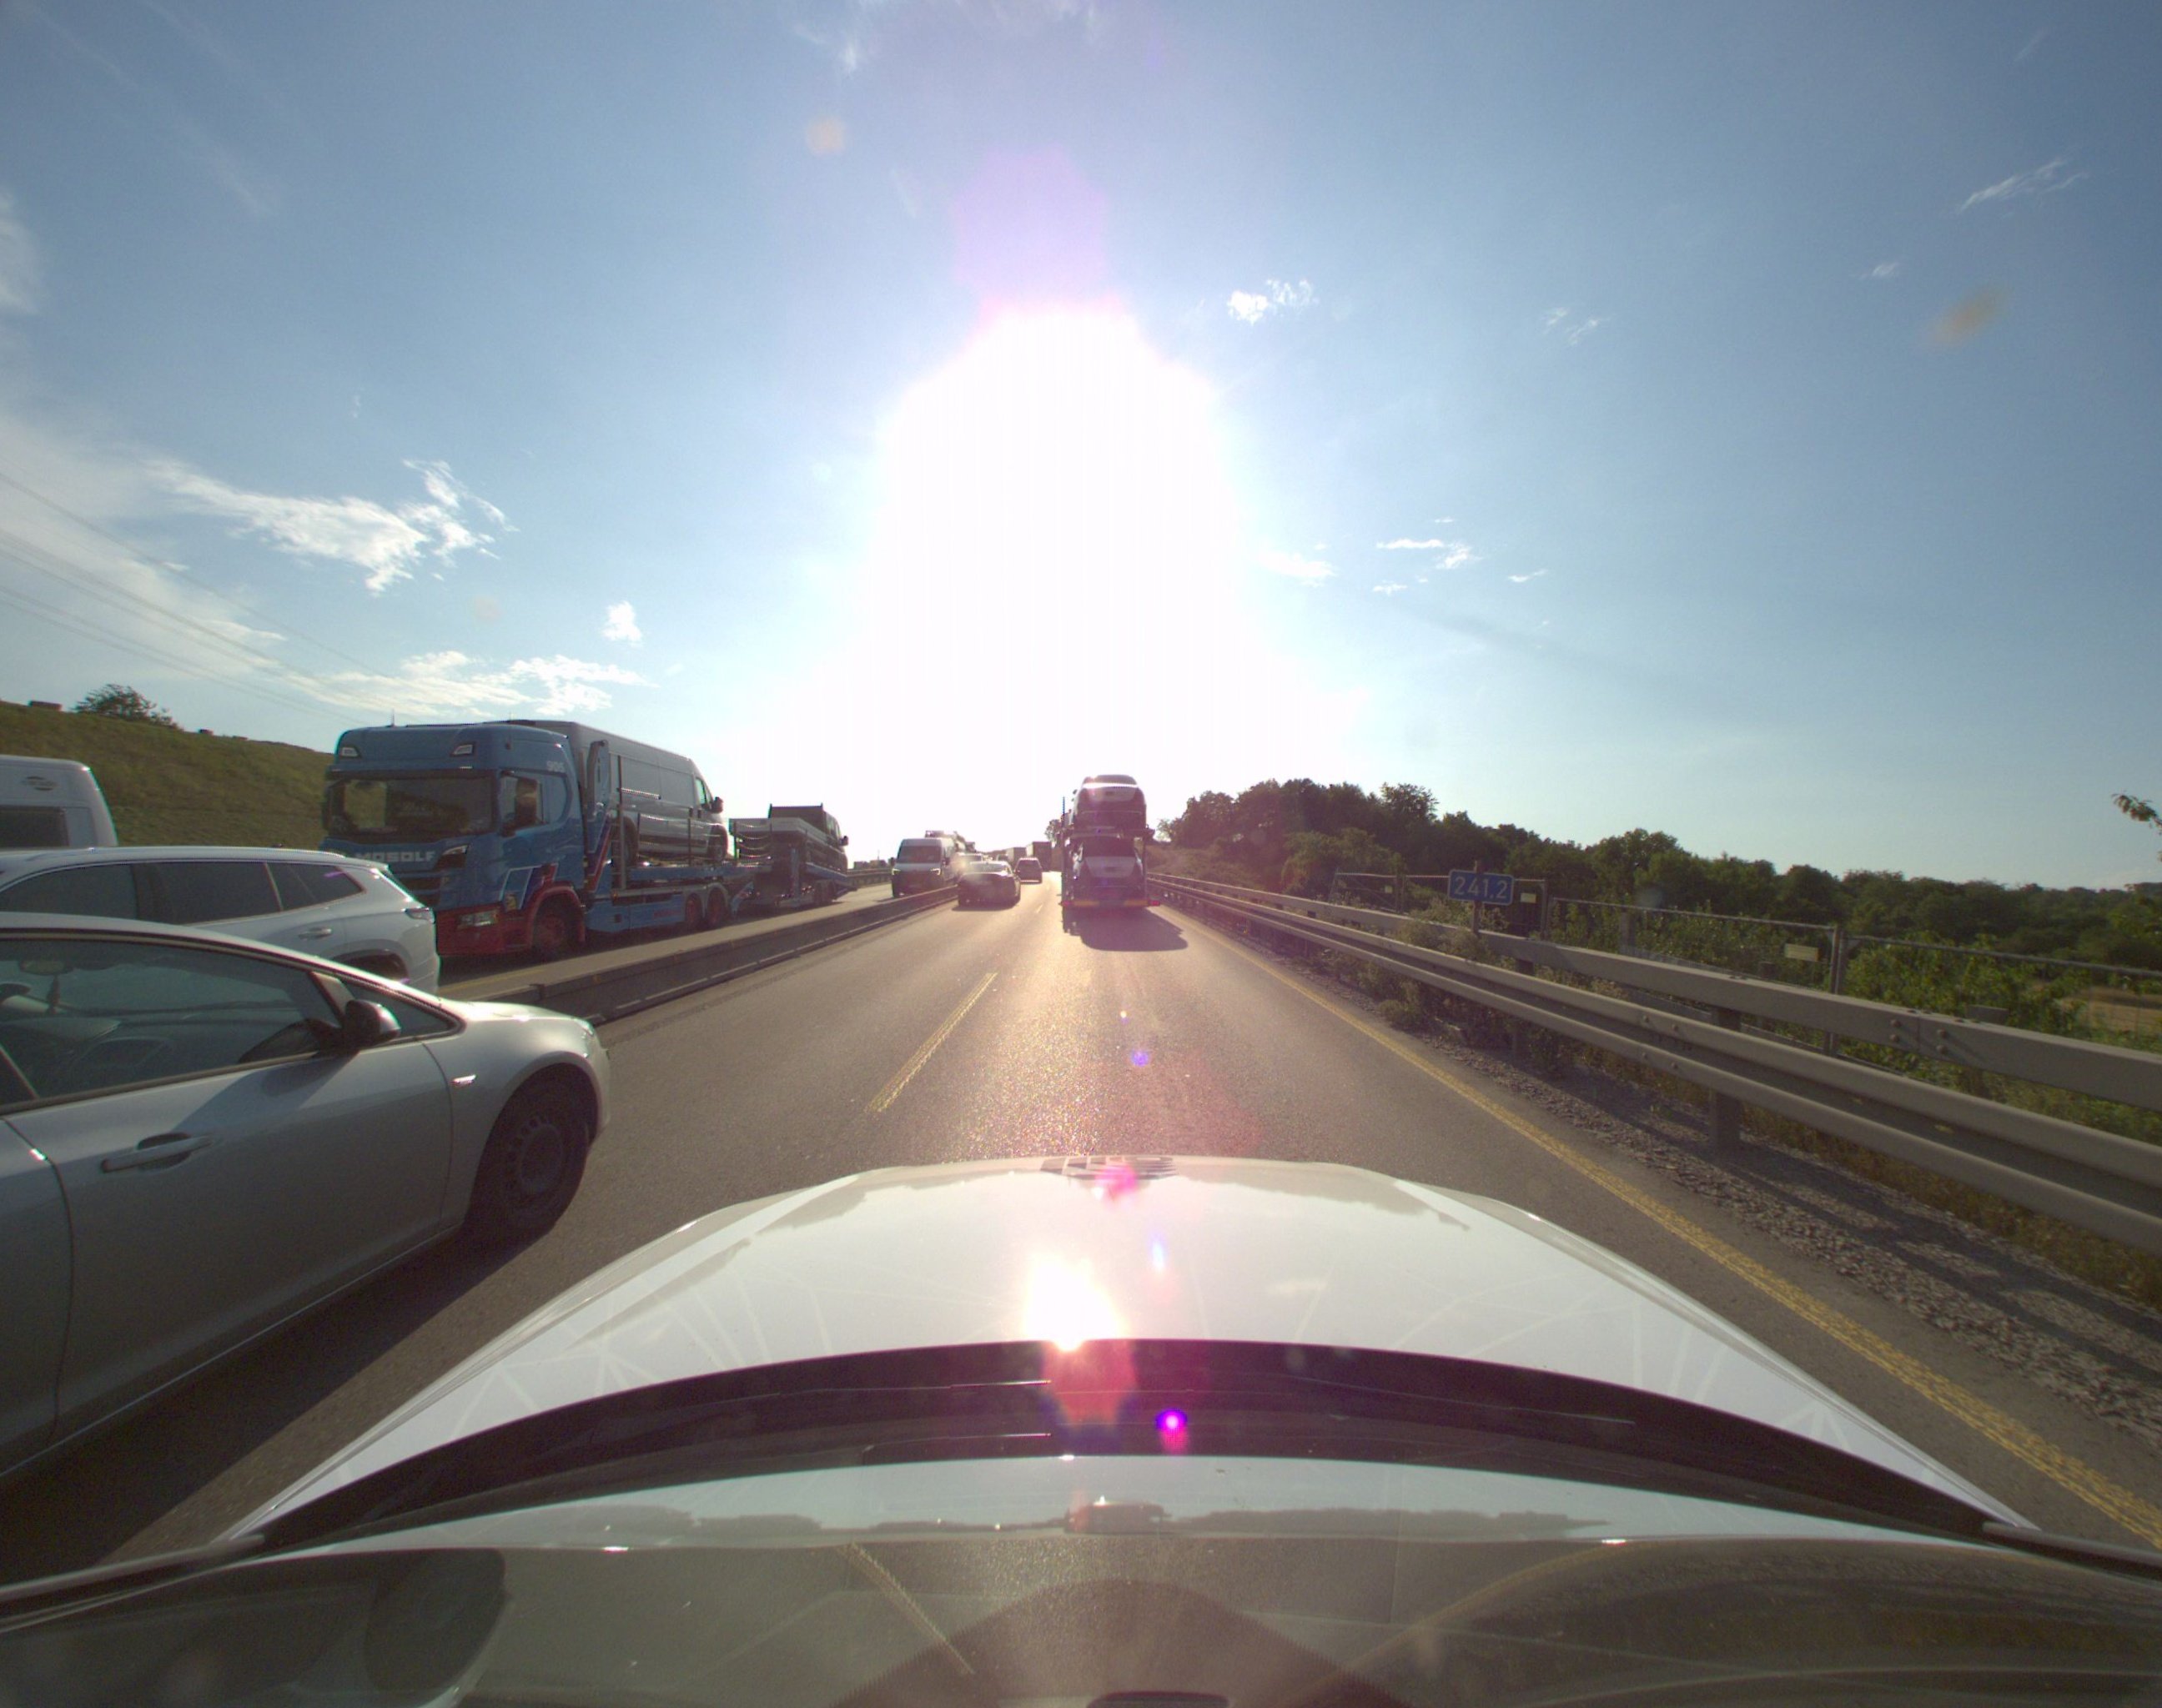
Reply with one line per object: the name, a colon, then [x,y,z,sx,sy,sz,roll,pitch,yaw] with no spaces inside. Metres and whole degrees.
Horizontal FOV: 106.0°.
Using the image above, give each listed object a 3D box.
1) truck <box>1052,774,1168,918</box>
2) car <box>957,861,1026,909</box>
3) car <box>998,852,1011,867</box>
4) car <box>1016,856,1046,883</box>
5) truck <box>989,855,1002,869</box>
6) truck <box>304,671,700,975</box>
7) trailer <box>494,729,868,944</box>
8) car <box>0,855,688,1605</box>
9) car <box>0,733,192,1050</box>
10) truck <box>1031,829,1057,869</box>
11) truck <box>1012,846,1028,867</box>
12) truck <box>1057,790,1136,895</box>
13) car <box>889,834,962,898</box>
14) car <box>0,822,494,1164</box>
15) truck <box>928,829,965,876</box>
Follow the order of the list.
truck: [0.681,-0.178,25.459,2.790,3.497,10.601,-1,0,-1]
car: [-2.988,0.992,28.154,1.929,1.398,4.958,-1,0,-1]
car: [-13.181,1.007,140.544,1.916,2.492,5.403,-1,0,-3]
car: [-3.173,0.970,52.608,1.686,1.596,3.999,-1,0,0]
truck: [-20.695,1.910,196.650,2.585,3.170,6.669,-1,0,-3]
truck: [-9.201,-0.412,13.949,2.495,4.065,5.883,-1,0,0]
trailer: [-9.328,-0.287,22.579,2.686,3.873,15.388,-1,0,0]
car: [-3.002,0.760,2.118,1.749,1.473,4.353,-1,0,1]
car: [-9.817,0.313,5.167,2.150,2.557,5.588,-1,0,0]
truck: [-5.157,-0.617,112.570,3.278,5.236,9.925,-1,0,-3]
truck: [-10.961,0.446,147.358,2.525,3.648,8.896,-1,0,-3]
truck: [0.491,-0.401,34.920,2.830,3.792,9.981,-1,0,-1]
car: [-6.571,0.481,35.100,2.099,2.482,6.062,-1,0,-2]
car: [-6.275,0.713,5.032,1.863,1.694,4.597,-1,0,1]
truck: [-11.247,-0.044,68.918,2.311,3.607,11.945,-1,0,-6]
